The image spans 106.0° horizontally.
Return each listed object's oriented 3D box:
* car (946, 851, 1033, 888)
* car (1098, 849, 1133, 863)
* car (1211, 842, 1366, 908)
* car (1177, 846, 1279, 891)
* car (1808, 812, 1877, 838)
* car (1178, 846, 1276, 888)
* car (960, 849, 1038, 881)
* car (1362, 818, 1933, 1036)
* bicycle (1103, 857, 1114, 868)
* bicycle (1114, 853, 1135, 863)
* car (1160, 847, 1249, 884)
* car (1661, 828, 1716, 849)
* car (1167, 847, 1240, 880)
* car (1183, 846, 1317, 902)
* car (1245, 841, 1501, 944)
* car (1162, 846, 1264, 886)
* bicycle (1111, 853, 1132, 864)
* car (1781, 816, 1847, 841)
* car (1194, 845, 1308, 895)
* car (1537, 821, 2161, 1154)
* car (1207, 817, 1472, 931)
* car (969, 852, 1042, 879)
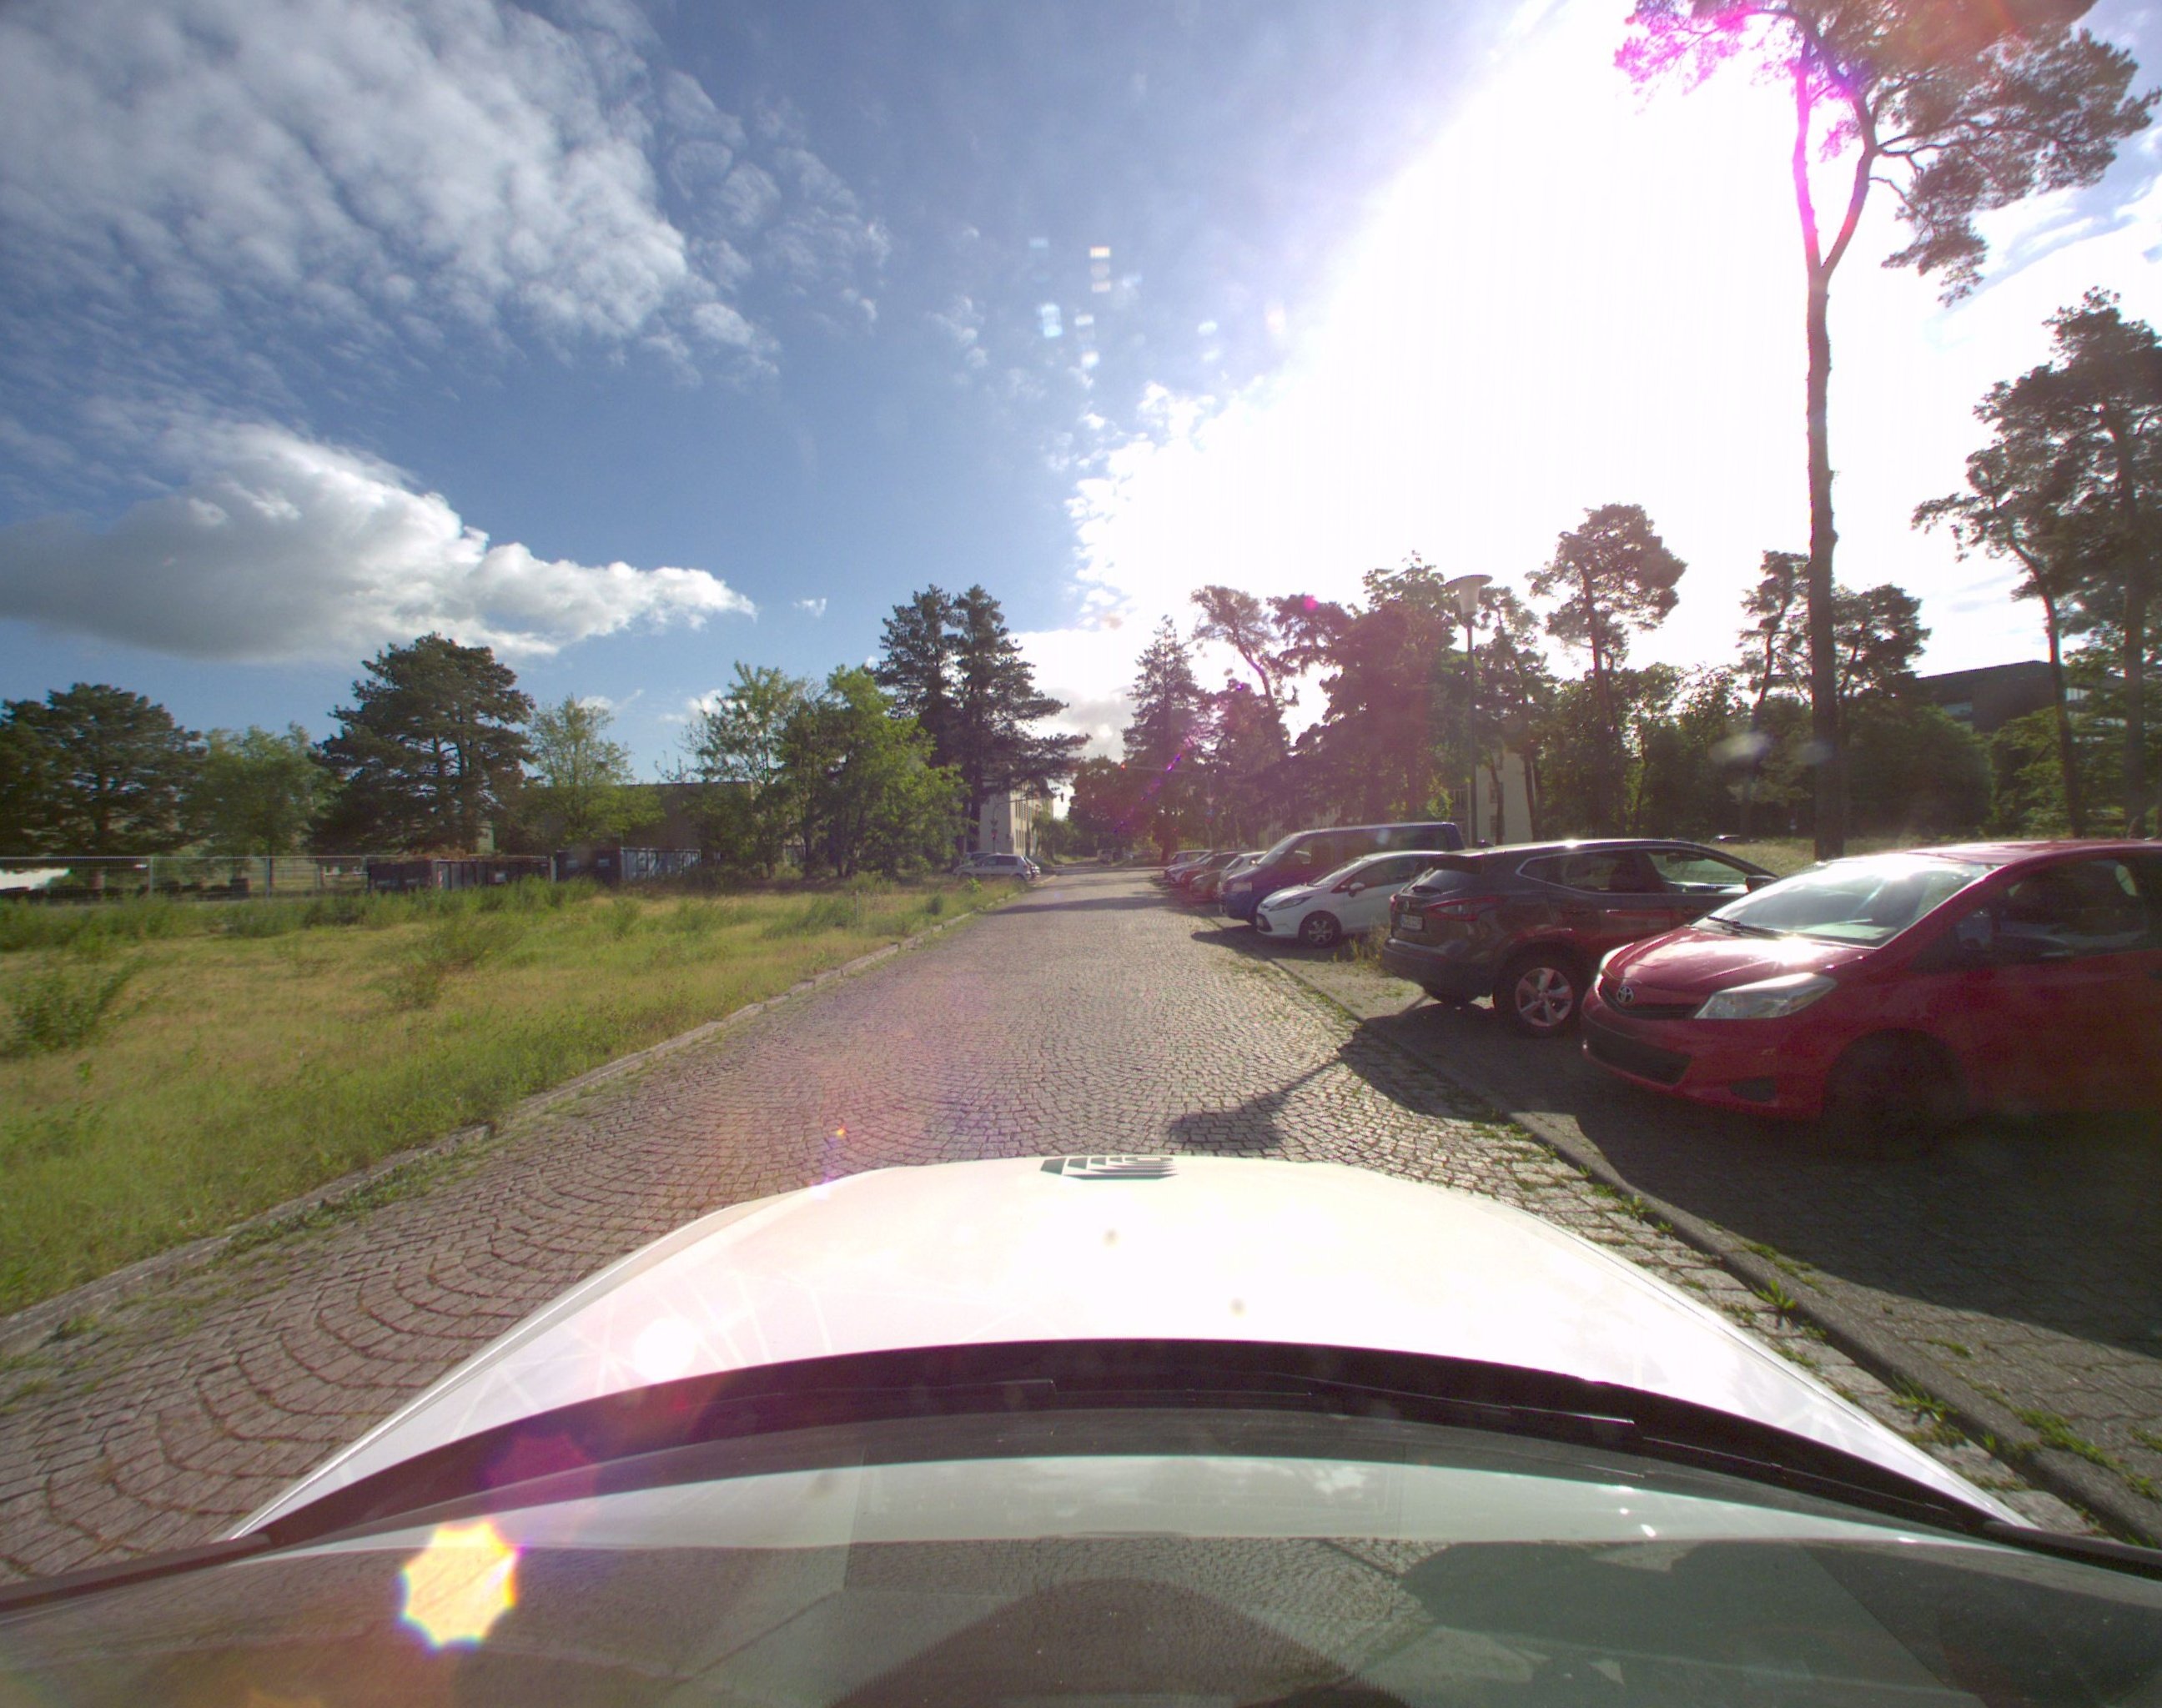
[{"bbox_3d":[-4.370,0.735,39.540,3.975,1.600,1.999,-2,0,-1],"label":"car"},{"bbox_3d":[4.537,0.233,106.629,4.464,1.728,2.000,-1,0,1],"label":"car"},{"bbox_3d":[5.434,0.536,21.638,3.680,1.465,1.646,-3,0,2],"label":"car"},{"bbox_3d":[5.378,0.521,30.143,3.466,1.529,1.645,-2,0,0],"label":"car"},{"bbox_3d":[64.767,-2.471,69.296,3.972,2.013,2.001,-2,0,1],"label":"car"},{"bbox_3d":[5.799,0.501,32.596,3.591,1.529,1.645,-2,0,0],"label":"car"},{"bbox_3d":[-4.480,0.574,44.936,3.973,1.601,2.001,2,0,1],"label":"car"},{"bbox_3d":[4.816,0.576,7.367,3.923,1.621,1.772,-2,0,0],"label":"car"},{"bbox_3d":[2.881,0.895,85.719,0.803,1.169,2.177,-3,0,-4],"label":"bicycle"},{"bbox_3d":[4.794,0.457,90.223,2.172,1.100,0.805,-1,0,-8],"label":"bicycle"},{"bbox_3d":[5.618,0.511,37.454,3.823,1.529,1.645,-2,0,0],"label":"car"},{"bbox_3d":[60.606,-1.543,81.256,3.972,2.013,2.001,-2,0,1],"label":"car"},{"bbox_3d":[6.005,0.467,40.087,3.332,1.482,1.645,-2,0,0],"label":"car"},{"bbox_3d":[5.013,0.585,24.537,3.663,1.467,1.645,-2,0,0],"label":"car"},{"bbox_3d":[4.818,0.606,13.790,3.708,1.488,1.645,-2,0,-1],"label":"car"},{"bbox_3d":[5.580,0.499,34.681,4.024,1.529,1.644,-2,0,-2],"label":"car"},{"bbox_3d":[4.480,0.475,89.147,2.172,1.100,0.805,-1,0,-8],"label":"bicycle"},{"bbox_3d":[64.485,-2.253,71.665,3.972,2.013,2.001,-2,0,1],"label":"car"},{"bbox_3d":[5.672,0.526,27.443,3.466,1.529,1.645,-2,0,0],"label":"car"},{"bbox_3d":[4.973,0.613,4.696,3.749,1.530,1.646,-2,0,1],"label":"car"},{"bbox_3d":[5.066,0.365,16.465,4.664,2.013,2.082,-2,0,-2],"label":"car"},{"bbox_3d":[-4.330,0.663,47.335,3.973,1.453,2.001,1,0,1],"label":"car"}]
